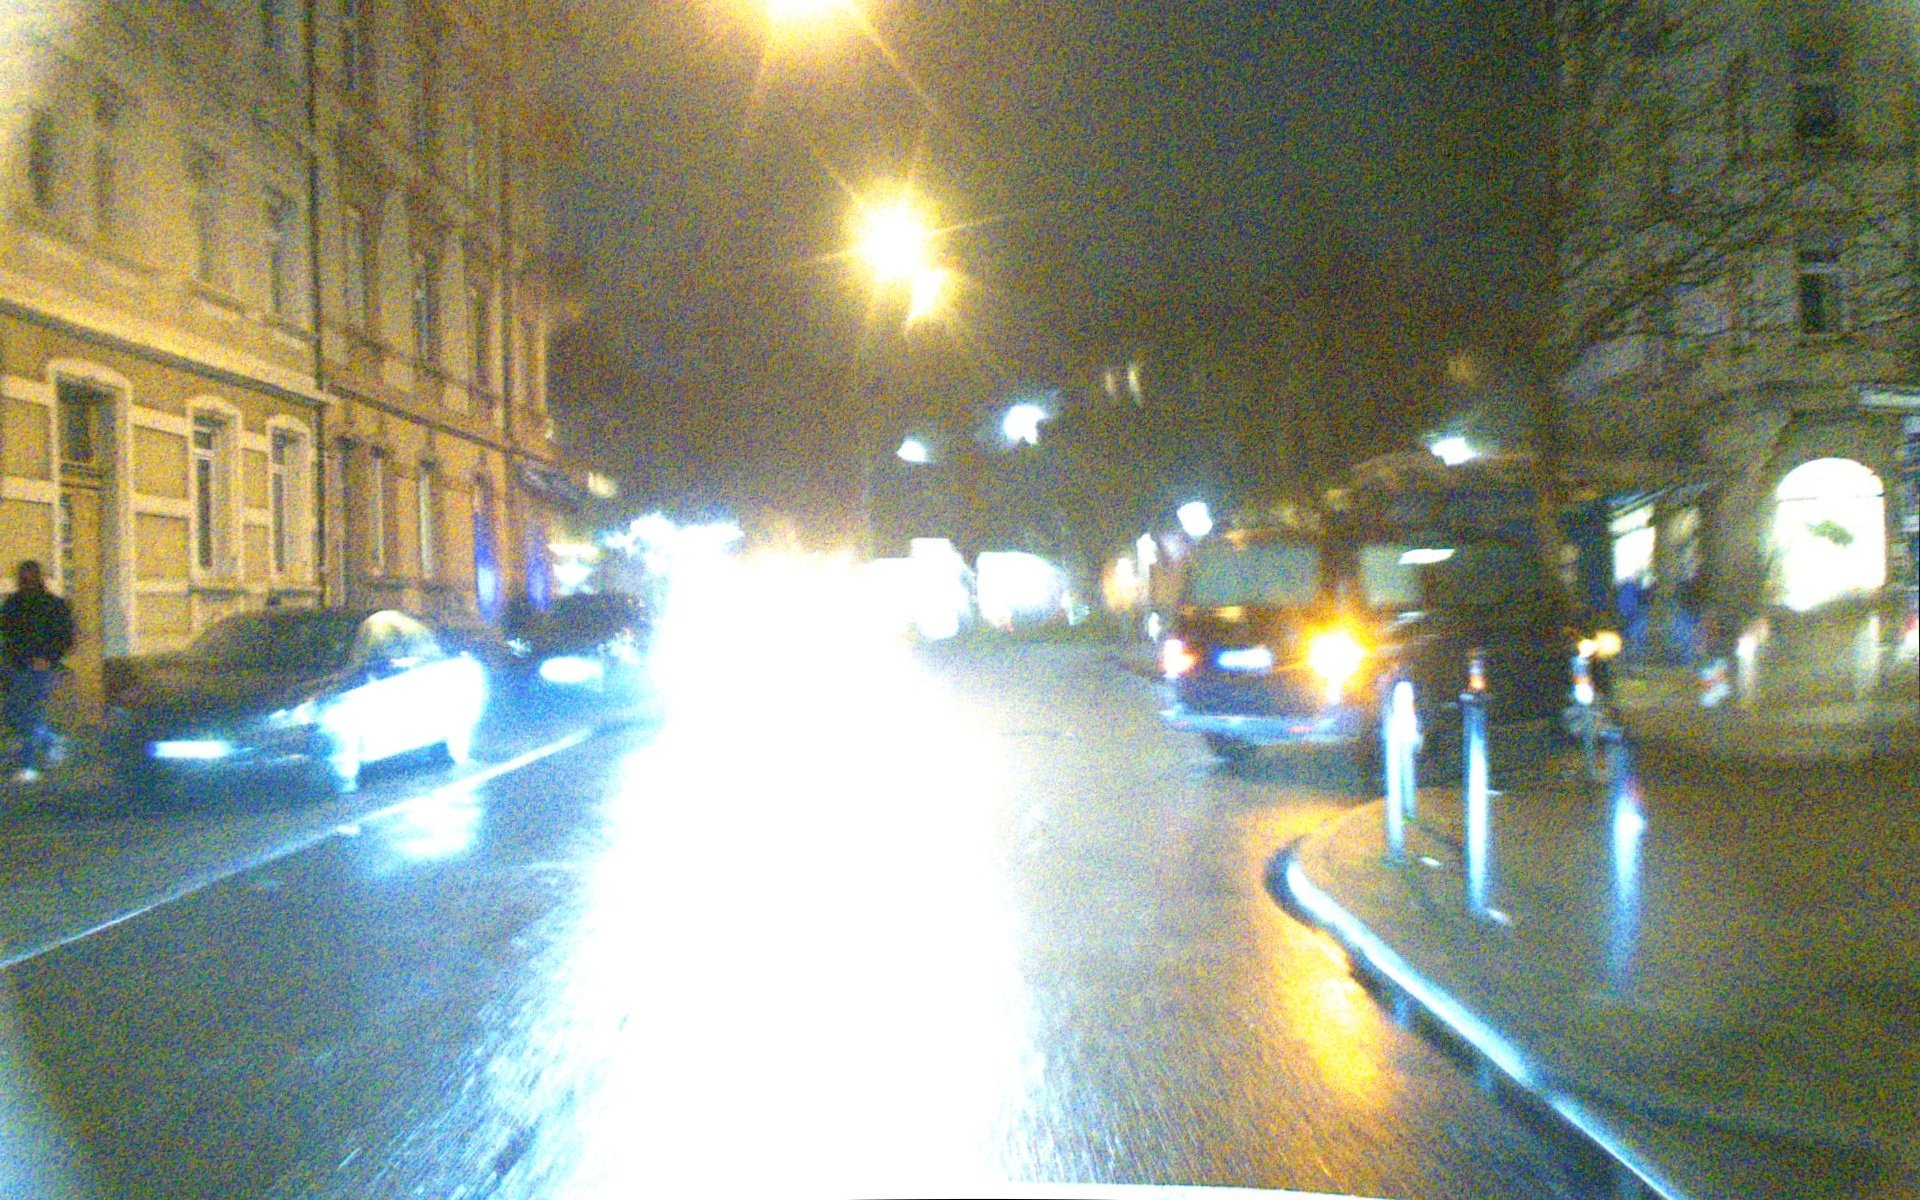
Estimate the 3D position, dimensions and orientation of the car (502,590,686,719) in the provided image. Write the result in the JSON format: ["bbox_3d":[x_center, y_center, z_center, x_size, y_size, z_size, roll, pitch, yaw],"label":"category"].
[{"bbox_3d":[-5.401,0.746,24.970,1.795,1.747,4.593,-1,0,-1],"label":"car"}]

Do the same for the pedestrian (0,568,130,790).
[{"bbox_3d":[-7.819,0.660,14.280,0.727,1.836,0.987,1,-1,2],"label":"pedestrian"}]

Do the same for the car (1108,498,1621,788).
[{"bbox_3d":[3.591,0.284,14.174,4.652,2.085,1.972,-1,0,-41],"label":"car"}]

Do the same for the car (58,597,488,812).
[{"bbox_3d":[-5.560,0.746,14.114,1.795,1.512,4.593,-1,0,-1],"label":"car"}]

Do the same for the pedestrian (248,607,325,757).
[{"bbox_3d":[-7.277,0.874,17.890,0.645,1.579,0.759,1,-1,-15],"label":"pedestrian"}]

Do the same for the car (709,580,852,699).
[{"bbox_3d":[-2.750,0.562,26.306,1.882,1.646,4.572,-3,0,-2],"label":"car"}]

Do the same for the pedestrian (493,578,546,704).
[{"bbox_3d":[-7.154,0.658,26.883,0.643,2.008,0.769,1,-1,-4],"label":"pedestrian"}]
